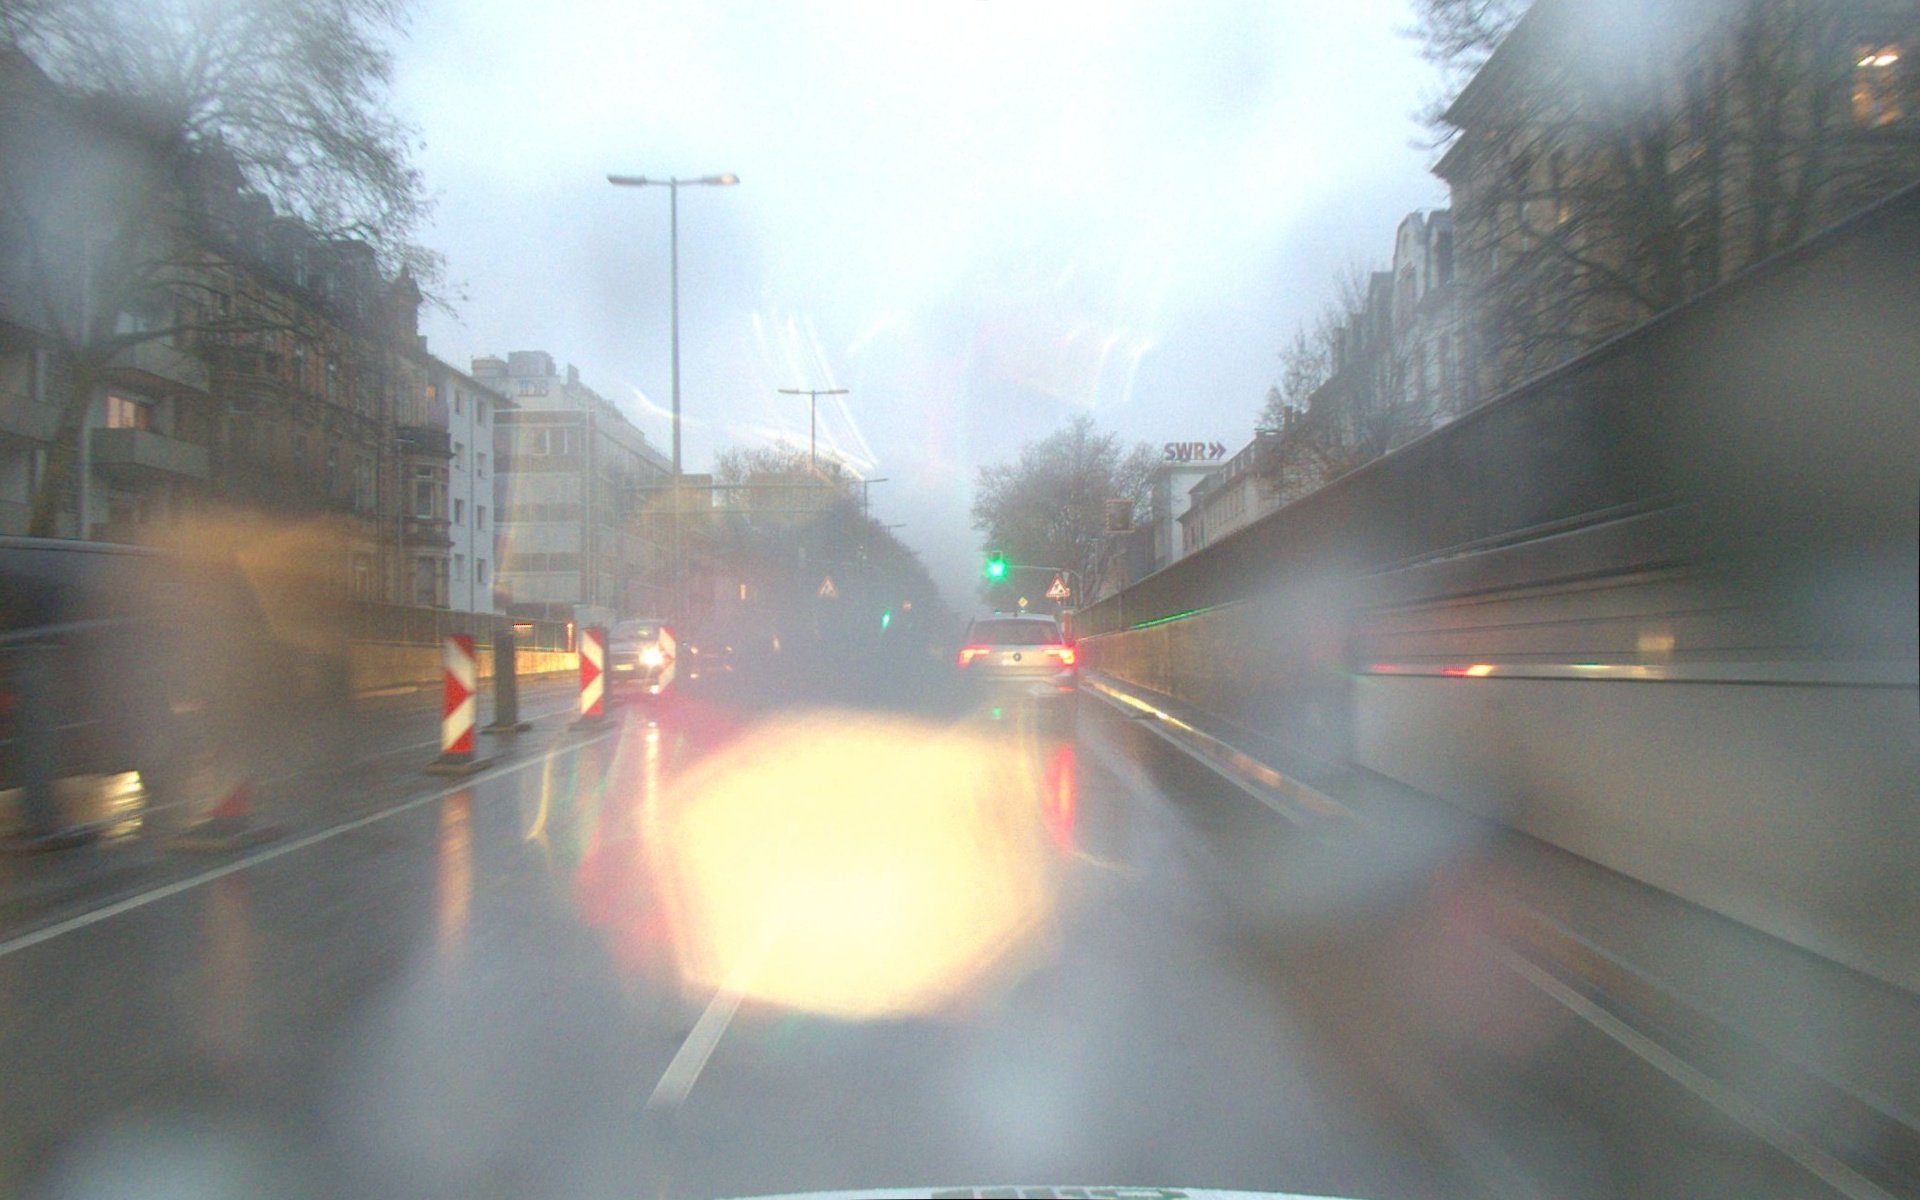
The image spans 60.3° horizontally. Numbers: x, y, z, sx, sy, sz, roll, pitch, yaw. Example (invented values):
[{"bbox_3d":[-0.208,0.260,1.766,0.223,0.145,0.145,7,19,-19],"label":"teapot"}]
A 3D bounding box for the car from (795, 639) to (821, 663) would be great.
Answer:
[{"bbox_3d":[-10.210,3.443,111.294,1.466,1.407,3.433,-2,0,-1],"label":"car"}]

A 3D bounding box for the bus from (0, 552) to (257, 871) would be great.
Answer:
[{"bbox_3d":[-6.860,0.749,11.476,1.640,2.000,5.175,-3,0,0],"label":"bus"}]

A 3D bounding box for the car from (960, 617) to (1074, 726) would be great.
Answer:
[{"bbox_3d":[0.763,0.993,23.516,1.500,1.422,3.433,0,-2,0],"label":"car"}]

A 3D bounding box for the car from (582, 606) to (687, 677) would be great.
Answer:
[{"bbox_3d":[-7.294,0.890,37.343,1.575,1.407,3.695,-2,1,0],"label":"car"}]

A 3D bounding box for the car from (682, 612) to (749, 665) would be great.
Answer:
[{"bbox_3d":[-7.315,1.131,49.726,1.466,1.407,3.434,-2,0,0],"label":"car"}]

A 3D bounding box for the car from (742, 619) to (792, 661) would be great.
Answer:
[{"bbox_3d":[-7.153,1.469,61.463,1.466,1.407,3.433,-2,0,-1],"label":"car"}]
